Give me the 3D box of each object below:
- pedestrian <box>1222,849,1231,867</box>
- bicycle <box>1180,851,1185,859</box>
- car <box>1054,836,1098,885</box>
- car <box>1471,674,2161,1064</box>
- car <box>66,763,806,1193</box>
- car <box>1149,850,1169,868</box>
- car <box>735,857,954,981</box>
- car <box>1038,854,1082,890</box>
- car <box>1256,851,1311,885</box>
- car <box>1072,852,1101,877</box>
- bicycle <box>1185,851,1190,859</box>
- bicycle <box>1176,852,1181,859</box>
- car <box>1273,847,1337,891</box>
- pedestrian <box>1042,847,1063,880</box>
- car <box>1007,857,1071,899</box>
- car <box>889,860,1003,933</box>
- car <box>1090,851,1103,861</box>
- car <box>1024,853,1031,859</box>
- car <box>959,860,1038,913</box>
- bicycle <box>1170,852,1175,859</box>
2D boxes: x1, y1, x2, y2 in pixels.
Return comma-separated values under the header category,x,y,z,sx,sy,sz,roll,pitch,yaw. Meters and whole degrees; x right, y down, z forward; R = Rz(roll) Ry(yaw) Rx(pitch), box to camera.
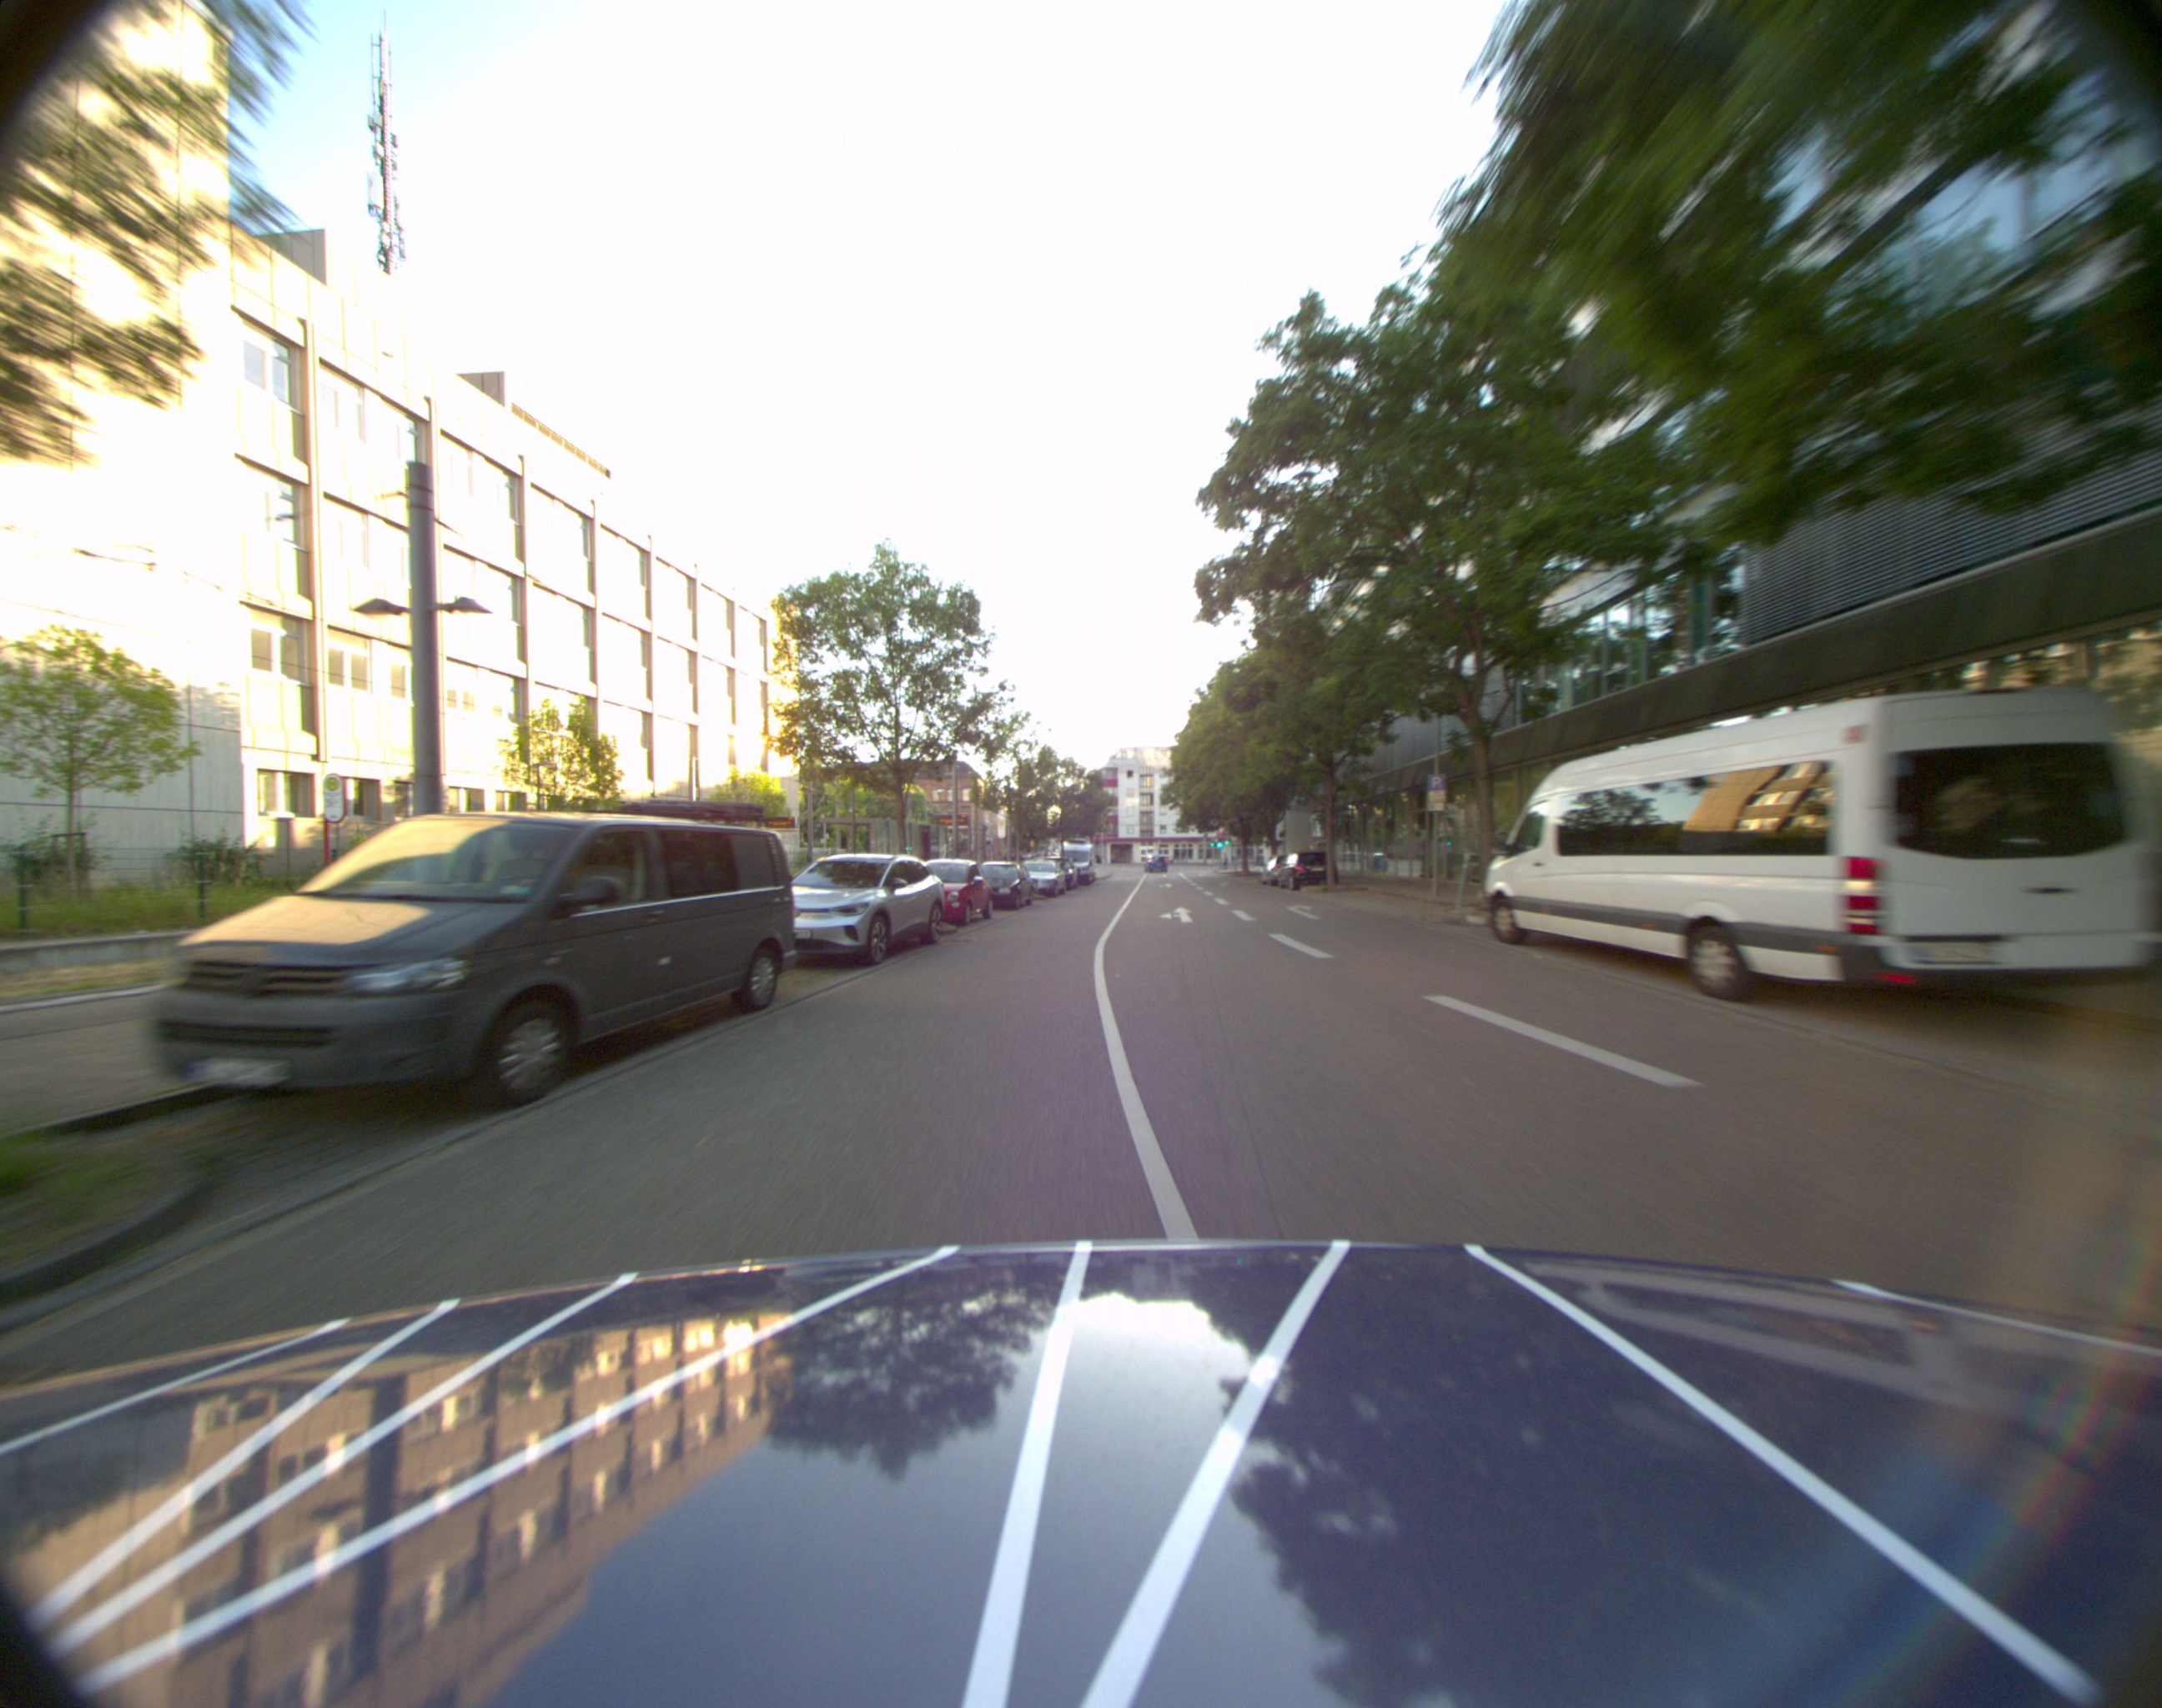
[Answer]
category,x,y,z,sx,sy,sz,roll,pitch,yaw
pedestrian,13.567,0.400,70.894,0.545,1.691,0.709,0,1,33
bicycle,14.800,0.129,110.595,0.515,1.040,1.903,0,0,3
car,-0.216,0.347,44.723,2.055,2.642,5.435,3,1,4
car,6.986,0.102,8.685,2.105,2.648,6.954,-1,0,6
car,-4.208,0.603,6.271,1.808,2.164,4.737,1,1,5
car,7.410,0.451,71.828,1.751,1.668,4.275,-1,0,6
car,-3.572,0.877,12.434,1.711,1.571,4.481,1,1,7
car,-1.003,0.852,38.391,1.711,1.634,4.268,1,1,5
car,9.571,0.616,36.263,1.707,1.453,4.628,-4,0,5
car,0.433,0.689,51.808,1.752,1.574,4.013,3,1,3
bicycle,15.434,0.150,110.301,0.515,1.040,1.903,0,0,3
bicycle,14.206,0.208,110.681,0.515,1.040,1.903,0,0,3
car,9.044,0.558,31.035,1.593,1.559,4.473,-4,0,5
pedestrian,-1.758,0.604,47.025,0.981,2.002,0.805,-1,1,-39
car,-1.647,0.922,31.739,1.800,1.487,4.783,3,1,7
car,-3.148,0.937,18.549,1.711,1.484,4.132,1,1,5
car,2.525,0.323,121.903,2.006,1.448,4.297,-1,0,1
car,-14.692,0.563,207.326,1.786,1.448,4.294,-1,0,-6
car,-2.513,0.958,24.069,1.711,1.443,4.001,1,1,5
bicycle,13.353,0.237,110.674,0.515,1.040,1.903,0,0,3
